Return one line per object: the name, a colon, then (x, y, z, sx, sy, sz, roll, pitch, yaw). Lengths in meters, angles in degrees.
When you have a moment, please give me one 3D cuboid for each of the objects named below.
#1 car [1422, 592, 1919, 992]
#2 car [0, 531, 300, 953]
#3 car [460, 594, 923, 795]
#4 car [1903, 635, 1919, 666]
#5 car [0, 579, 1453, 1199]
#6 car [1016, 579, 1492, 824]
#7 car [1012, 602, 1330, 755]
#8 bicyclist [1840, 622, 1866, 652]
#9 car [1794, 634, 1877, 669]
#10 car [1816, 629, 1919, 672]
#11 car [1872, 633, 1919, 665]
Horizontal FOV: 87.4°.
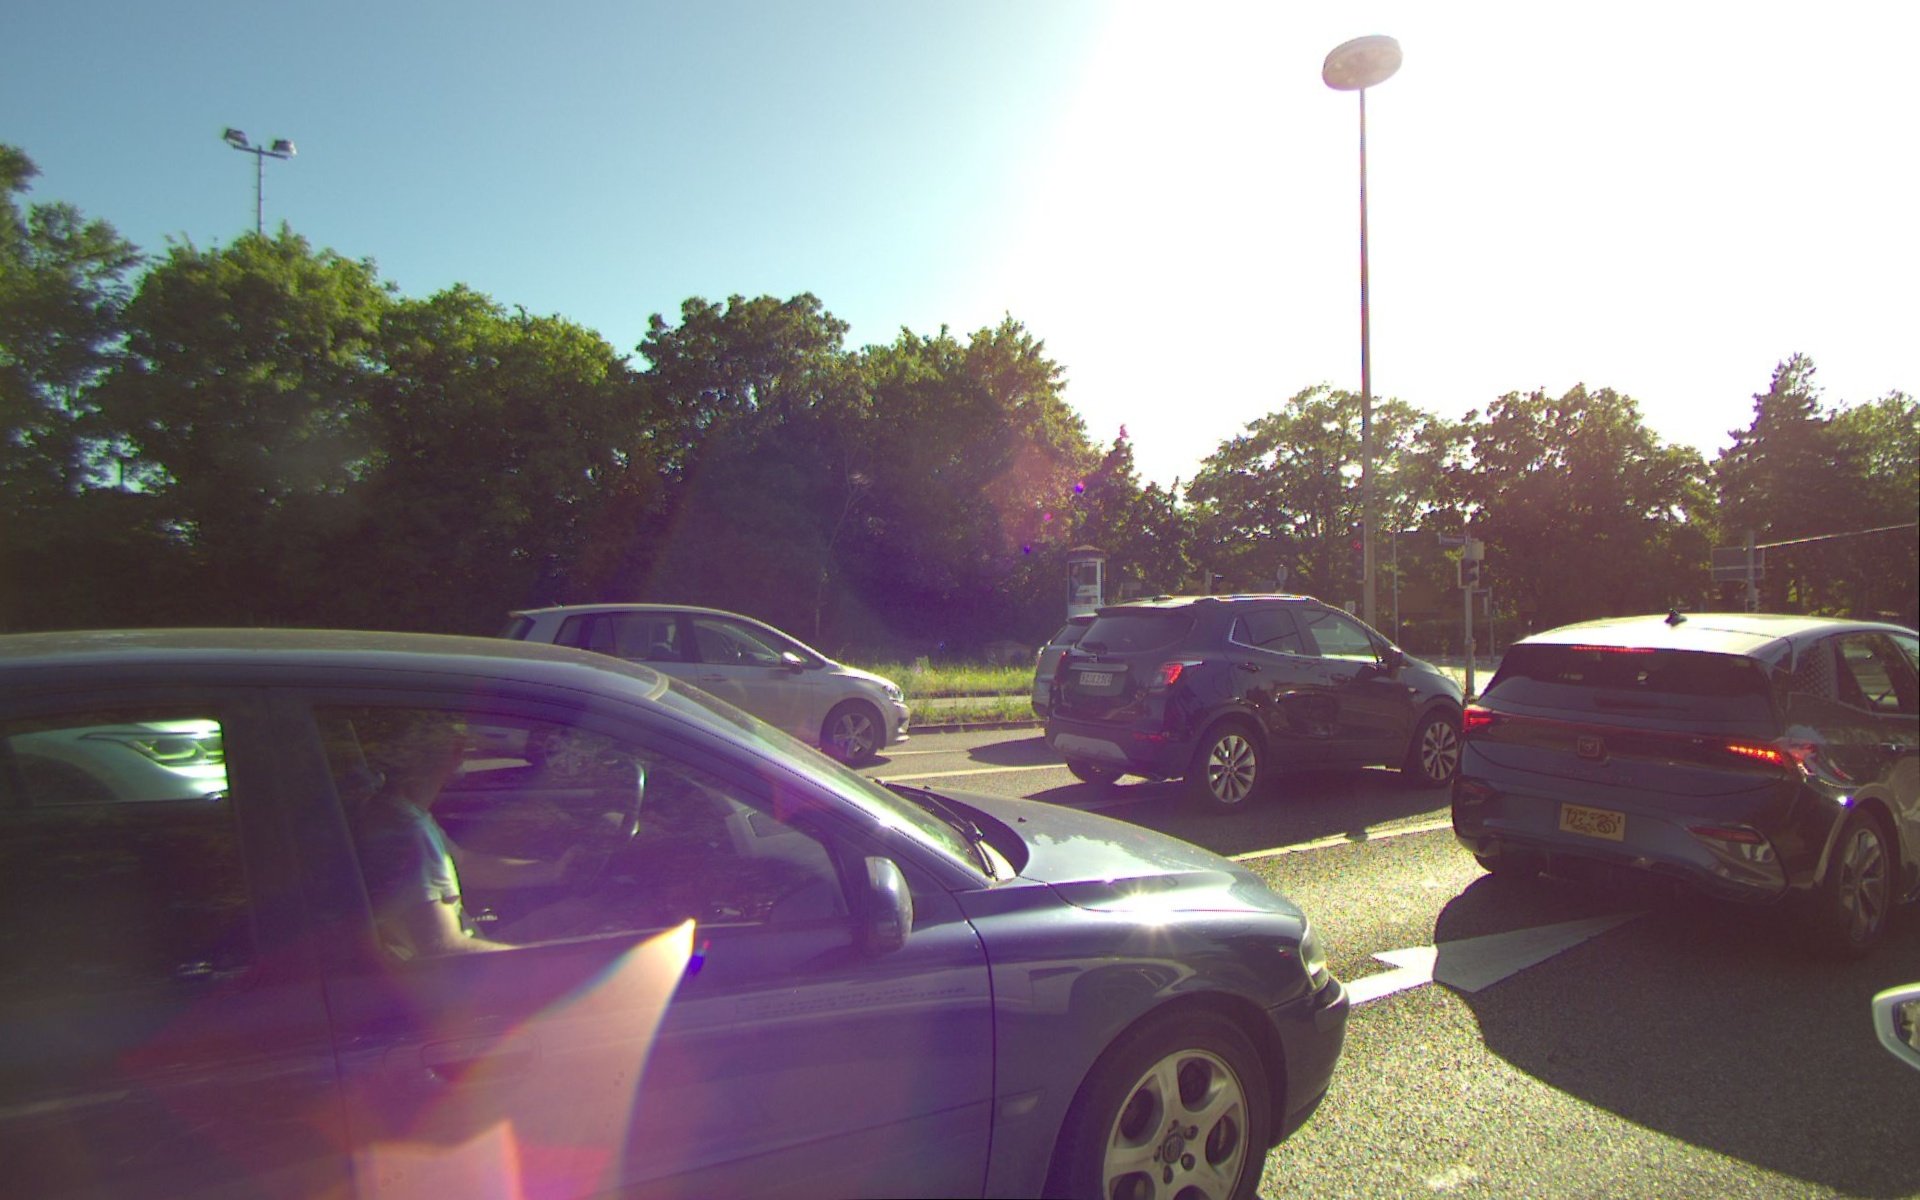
car: (4.740, 0.824, 5.818, 4.158, 1.601, 1.676, 2, -1, -30)
car: (-5.555, 0.587, 4.330, 4.373, 1.732, 1.984, 1, -2, -30)
car: (-2.614, 0.832, 10.007, 4.156, 1.632, 1.822, 1, -2, -30)
car: (46.967, 2.407, 47.994, 4.172, 1.475, 1.633, 1, -2, -30)
car: (-1.096, 0.721, 2.203, 4.404, 1.471, 1.767, 2, 0, -30)
car: (2.620, 0.766, 8.797, 3.953, 1.711, 1.796, 1, -2, -30)
car: (2.810, 0.950, 13.184, 3.956, 1.724, 1.820, 1, -2, -32)
bicyclist: (51.331, 2.133, 57.744, 1.188, 1.670, 0.870, 1, -2, -35)
car: (39.950, 2.315, 45.806, 3.956, 1.529, 1.678, 1, -2, -30)
car: (34.963, 1.898, 38.520, 4.451, 1.544, 1.880, 1, -2, -30)
car: (47.661, 2.438, 50.443, 3.956, 1.529, 1.678, 1, -2, -30)
